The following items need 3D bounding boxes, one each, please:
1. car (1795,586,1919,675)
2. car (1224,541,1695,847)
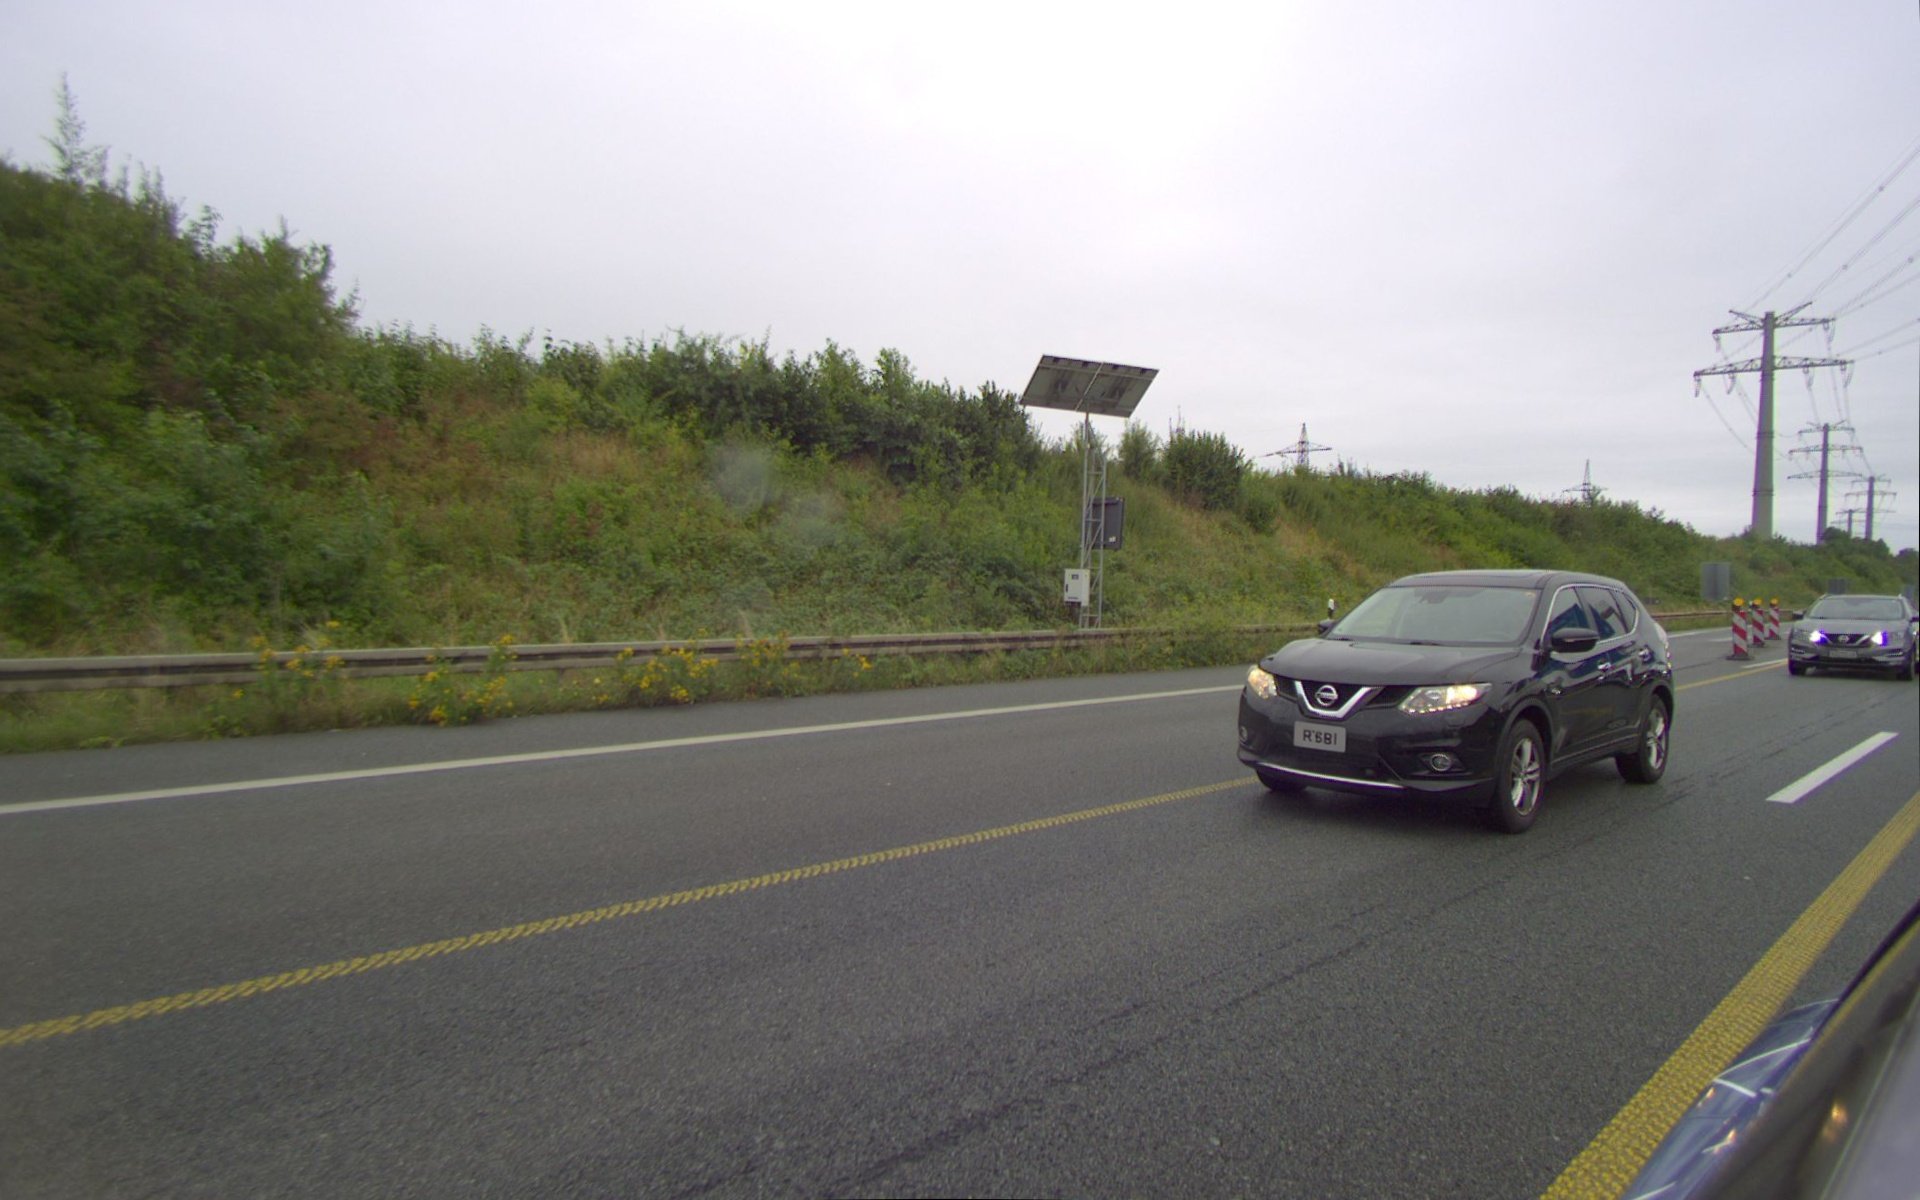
[{"bbox_3d":[17.818,0.519,19.752,4.079,1.552,1.802,0,1,-42],"label":"car"},{"bbox_3d":[3.914,0.498,7.579,4.206,1.679,1.687,0,1,-41],"label":"car"}]
